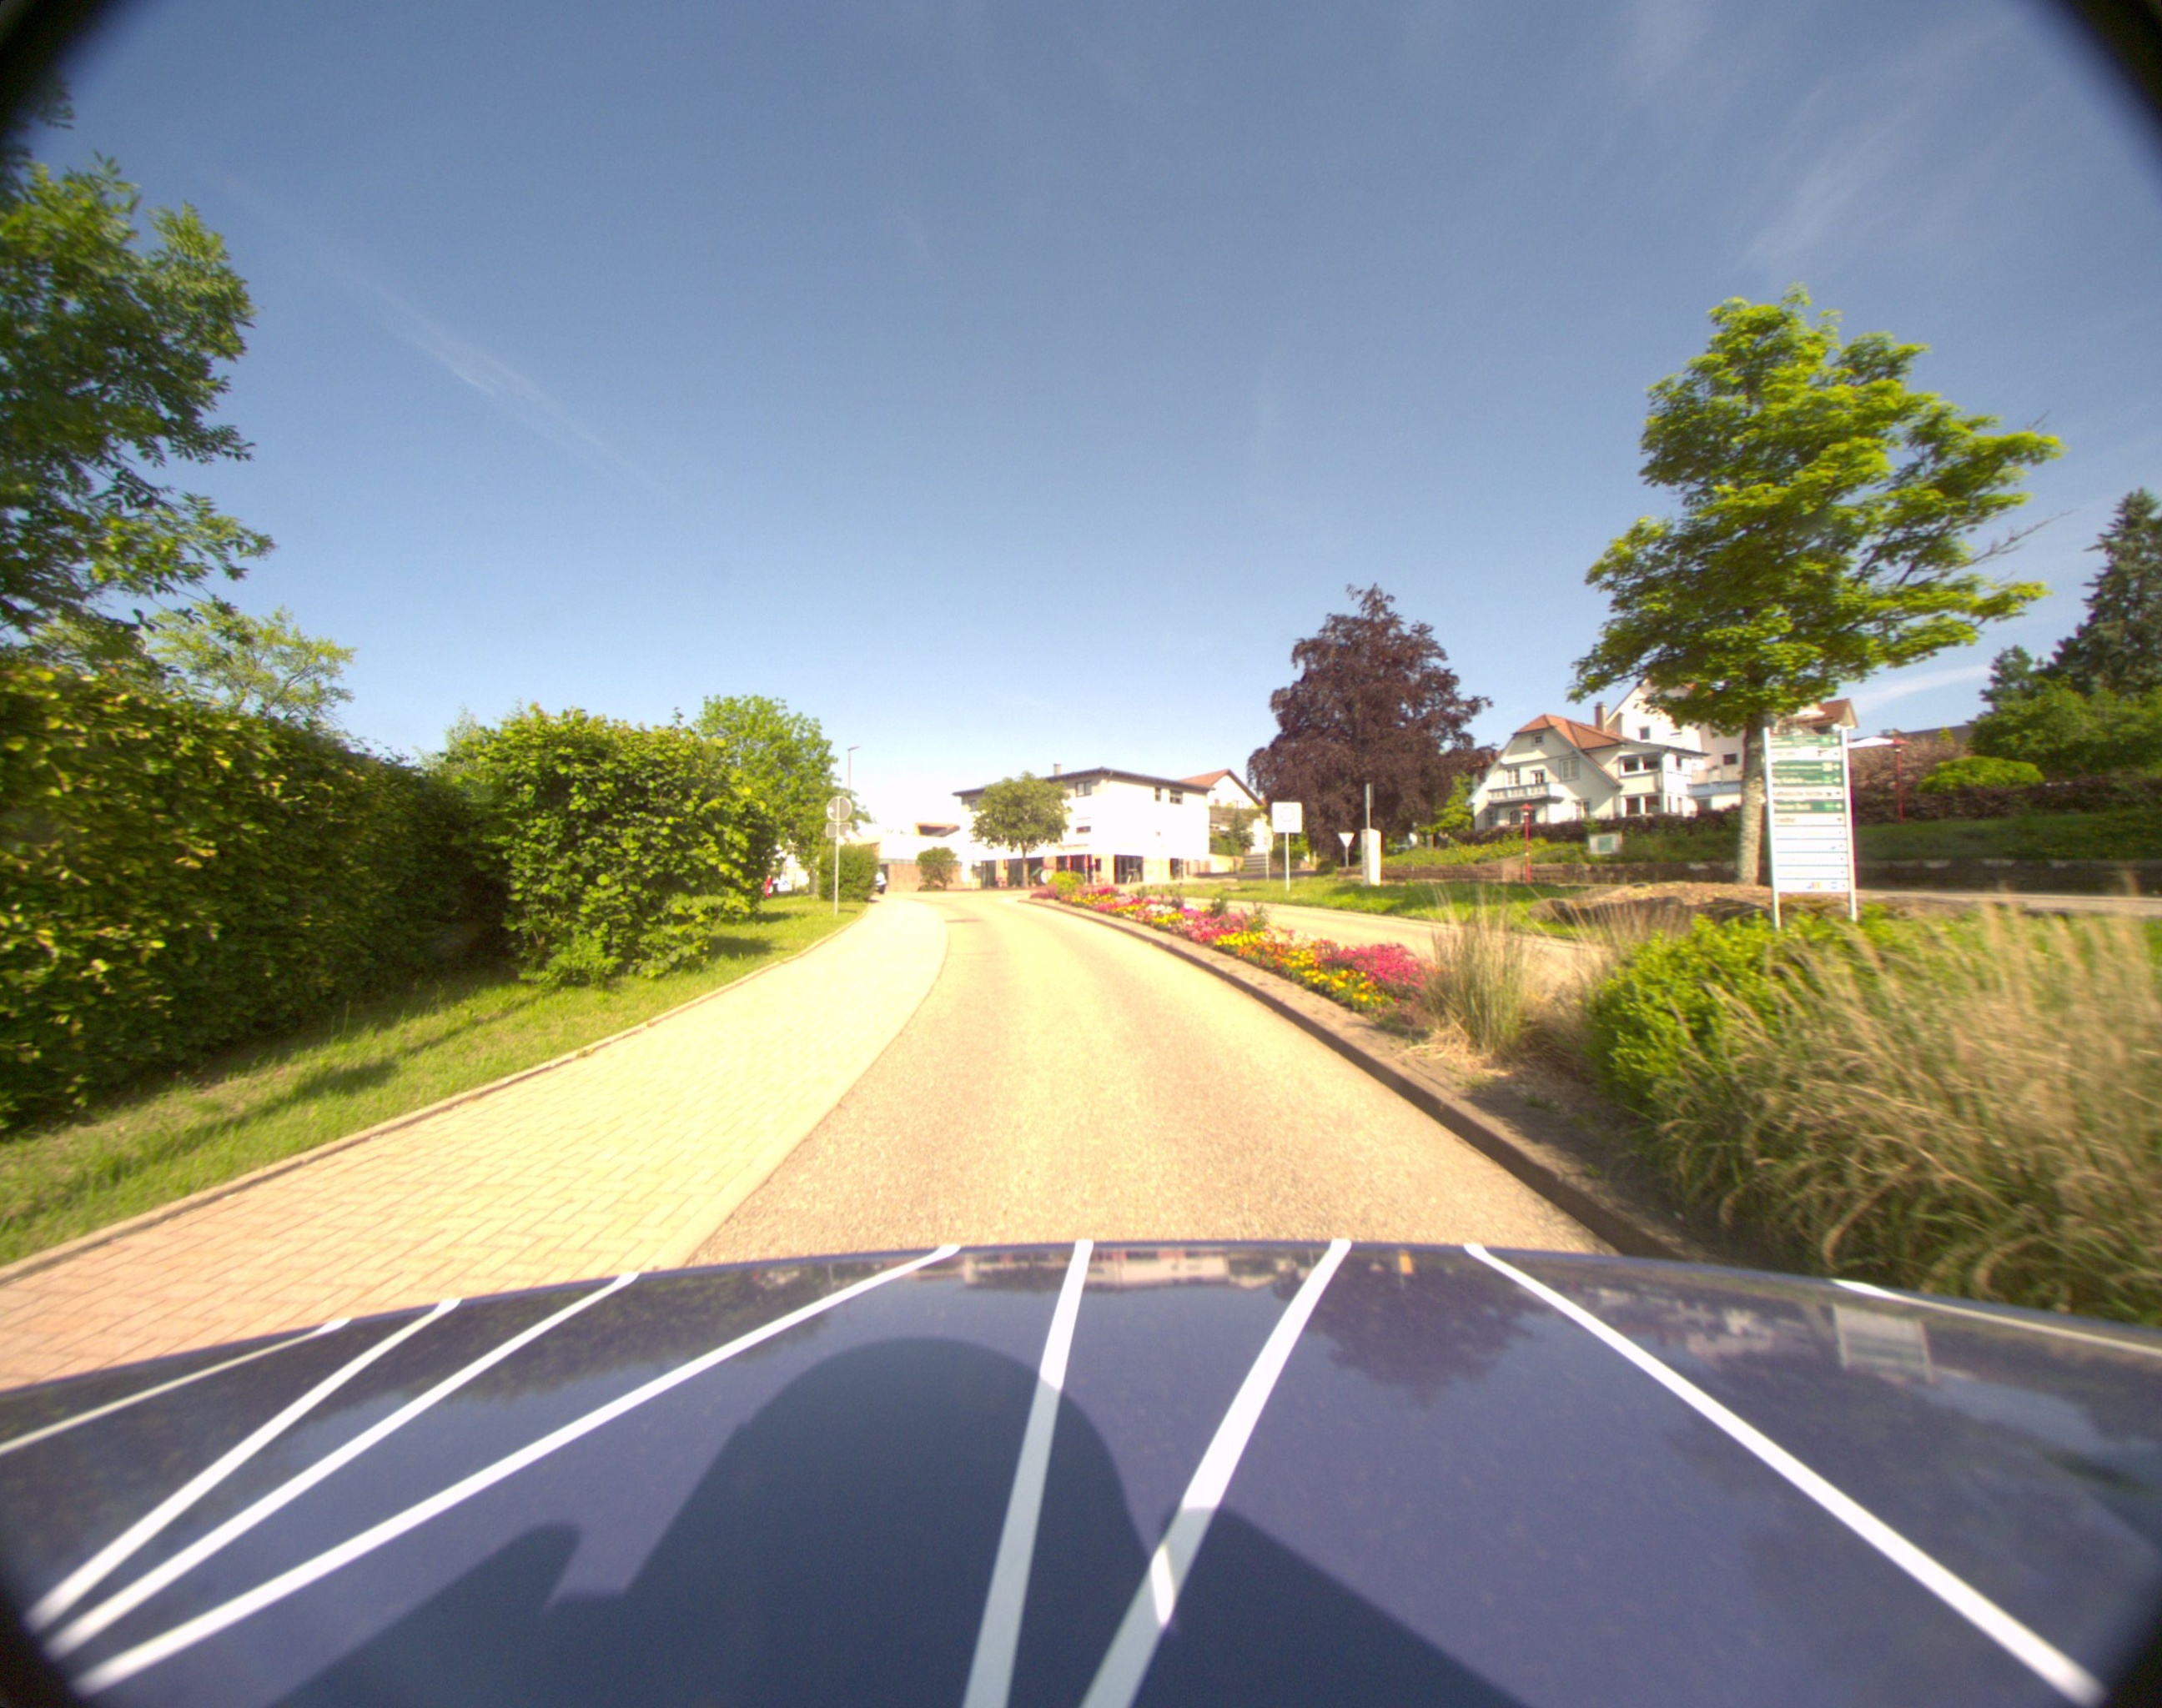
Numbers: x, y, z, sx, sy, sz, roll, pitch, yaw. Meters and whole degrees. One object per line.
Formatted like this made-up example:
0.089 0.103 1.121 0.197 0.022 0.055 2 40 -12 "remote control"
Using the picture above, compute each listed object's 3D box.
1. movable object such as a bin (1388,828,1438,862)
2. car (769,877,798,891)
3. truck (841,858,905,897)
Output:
28.172 -0.783 64.442 5.115 2.753 1.995 -2 0 -44 "movable object such as a bin"
-35.967 3.658 91.903 3.704 1.459 1.779 -4 0 43 "car"
-14.431 1.666 52.346 2.003 2.327 6.481 -4 -1 -35 "truck"
